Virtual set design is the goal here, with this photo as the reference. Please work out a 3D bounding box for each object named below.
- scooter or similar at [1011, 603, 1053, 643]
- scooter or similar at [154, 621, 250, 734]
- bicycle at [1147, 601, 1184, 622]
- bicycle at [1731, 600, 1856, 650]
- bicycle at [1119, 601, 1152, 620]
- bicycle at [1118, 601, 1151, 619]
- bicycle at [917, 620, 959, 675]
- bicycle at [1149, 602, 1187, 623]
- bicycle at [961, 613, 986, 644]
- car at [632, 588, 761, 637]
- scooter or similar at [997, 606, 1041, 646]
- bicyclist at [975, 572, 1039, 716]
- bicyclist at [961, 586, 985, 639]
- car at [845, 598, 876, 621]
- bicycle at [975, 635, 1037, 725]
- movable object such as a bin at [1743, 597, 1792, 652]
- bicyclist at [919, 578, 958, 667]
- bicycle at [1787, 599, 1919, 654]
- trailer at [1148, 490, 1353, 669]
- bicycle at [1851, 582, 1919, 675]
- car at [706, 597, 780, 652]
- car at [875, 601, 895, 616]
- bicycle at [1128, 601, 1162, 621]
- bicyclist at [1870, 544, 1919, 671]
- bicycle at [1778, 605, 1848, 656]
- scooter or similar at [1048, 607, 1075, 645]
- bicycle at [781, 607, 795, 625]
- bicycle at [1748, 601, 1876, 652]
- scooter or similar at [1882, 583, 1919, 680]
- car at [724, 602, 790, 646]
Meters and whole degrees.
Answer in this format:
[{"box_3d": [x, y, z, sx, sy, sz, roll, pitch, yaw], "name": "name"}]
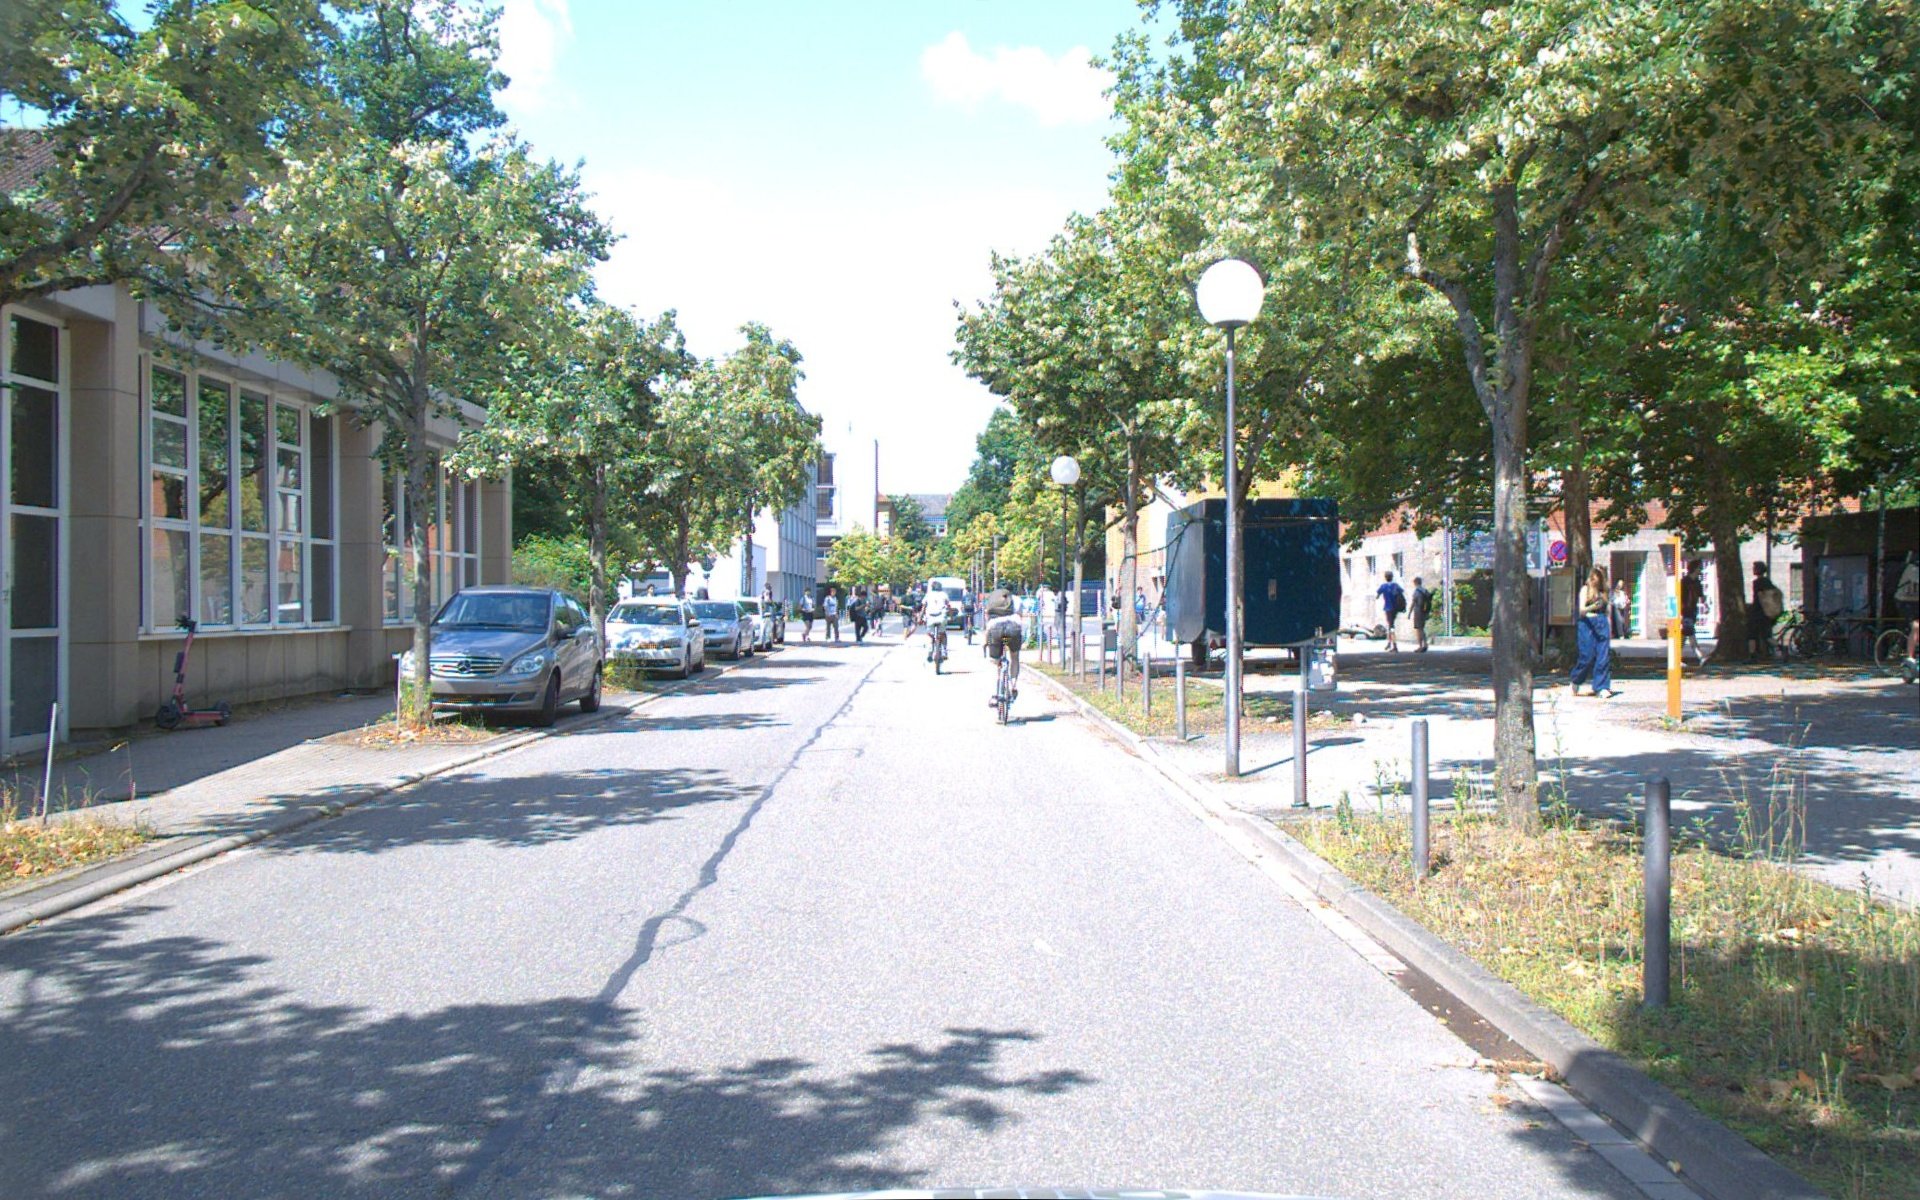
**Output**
[{"box_3d": [2.385, 0.761, 54.620, 1.237, 1.287, 0.638, -1, 0, 31], "name": "scooter or similar"}, {"box_3d": [-8.395, 0.842, 18.355, 0.495, 1.189, 1.215, 1, 0, -1], "name": "scooter or similar"}, {"box_3d": [10.439, 0.602, 84.102, 1.773, 1.002, 0.560, -2, 0, -2], "name": "bicycle"}, {"box_3d": [18.552, 0.557, 36.847, 2.345, 1.090, 0.783, -1, -1, 12], "name": "bicycle"}, {"box_3d": [9.928, 0.574, 93.687, 1.773, 1.002, 0.560, -2, 0, -2], "name": "bicycle"}, {"box_3d": [9.981, 0.569, 94.651, 1.773, 1.002, 0.560, -2, 0, -2], "name": "bicycle"}, {"box_3d": [-0.445, 0.964, 34.359, 0.792, 1.019, 2.123, -3, 1, 0], "name": "bicycle"}, {"box_3d": [10.153, 0.610, 80.714, 1.773, 1.002, 0.560, -2, 0, -2], "name": "bicycle"}, {"box_3d": [0.443, 0.952, 55.497, 0.792, 1.020, 2.123, 0, -1, 0], "name": "bicycle"}, {"box_3d": [-10.024, 0.495, 63.060, 4.410, 1.647, 1.925, 2, -1, 7], "name": "car"}, {"box_3d": [1.888, 0.832, 52.955, 1.237, 1.287, 0.649, -1, 0, 31], "name": "scooter or similar"}, {"box_3d": [0.578, 0.521, 20.192, 0.702, 1.691, 1.095, 2, 0, 2], "name": "bicyclist"}, {"box_3d": [0.439, 0.423, 55.551, 0.792, 1.787, 0.692, 0, -1, 0], "name": "bicyclist"}, {"box_3d": [-7.062, 0.650, 117.891, 1.758, 1.557, 4.002, -1, 0, 3], "name": "car"}, {"box_3d": [0.565, 0.957, 20.283, 0.692, 1.010, 1.911, -2, 0, 1], "name": "bicycle"}, {"box_3d": [16.158, 0.495, 33.119, 0.587, 1.090, 0.742, 0, -2, 0], "name": "movable object such as a bin"}, {"box_3d": [-0.439, 0.455, 34.169, 0.755, 1.787, 0.848, 2, 0, 0], "name": "bicyclist"}, {"box_3d": [18.769, 0.552, 34.783, 2.345, 1.090, 0.783, 1, -1, 11], "name": "bicycle"}, {"box_3d": [5.521, -0.371, 32.528, 2.637, 3.105, 6.254, -2, 0, -2], "name": "trailer"}, {"box_3d": [13.455, 0.395, 23.195, 0.522, 1.274, 1.726, -2, 0, -21], "name": "bicycle"}, {"box_3d": [-6.045, 0.659, 46.309, 1.628, 1.436, 3.806, 1, 0, -1], "name": "car"}, {"box_3d": [-8.355, 0.950, 184.459, 1.758, 1.557, 4.002, -1, 0, 3], "name": "car"}, {"box_3d": [10.037, 0.589, 89.818, 1.773, 1.002, 0.560, -2, 0, -2], "name": "bicycle"}, {"box_3d": [13.447, 0.092, 23.195, 0.522, 1.759, 1.072, -2, 0, -21], "name": "bicyclist"}, {"box_3d": [19.863, 0.692, 38.555, 0.562, 1.160, 2.026, 0, 0, -1], "name": "bicycle"}, {"box_3d": [3.209, 0.820, 52.270, 0.635, 1.180, 1.265, -1, 0, 14], "name": "scooter or similar"}, {"box_3d": [-9.971, 0.895, 95.753, 0.512, 1.002, 1.633, -2, 0, 3], "name": "bicycle"}, {"box_3d": [18.494, 0.576, 35.933, 2.345, 1.090, 0.783, -1, -1, 6], "name": "bicycle"}, {"box_3d": [12.531, 0.406, 21.425, 0.415, 1.240, 1.294, -1, -1, 0], "name": "scooter or similar"}, {"box_3d": [-6.405, 0.736, 52.504, 1.611, 1.323, 3.927, -1, 0, 0], "name": "car"}]
